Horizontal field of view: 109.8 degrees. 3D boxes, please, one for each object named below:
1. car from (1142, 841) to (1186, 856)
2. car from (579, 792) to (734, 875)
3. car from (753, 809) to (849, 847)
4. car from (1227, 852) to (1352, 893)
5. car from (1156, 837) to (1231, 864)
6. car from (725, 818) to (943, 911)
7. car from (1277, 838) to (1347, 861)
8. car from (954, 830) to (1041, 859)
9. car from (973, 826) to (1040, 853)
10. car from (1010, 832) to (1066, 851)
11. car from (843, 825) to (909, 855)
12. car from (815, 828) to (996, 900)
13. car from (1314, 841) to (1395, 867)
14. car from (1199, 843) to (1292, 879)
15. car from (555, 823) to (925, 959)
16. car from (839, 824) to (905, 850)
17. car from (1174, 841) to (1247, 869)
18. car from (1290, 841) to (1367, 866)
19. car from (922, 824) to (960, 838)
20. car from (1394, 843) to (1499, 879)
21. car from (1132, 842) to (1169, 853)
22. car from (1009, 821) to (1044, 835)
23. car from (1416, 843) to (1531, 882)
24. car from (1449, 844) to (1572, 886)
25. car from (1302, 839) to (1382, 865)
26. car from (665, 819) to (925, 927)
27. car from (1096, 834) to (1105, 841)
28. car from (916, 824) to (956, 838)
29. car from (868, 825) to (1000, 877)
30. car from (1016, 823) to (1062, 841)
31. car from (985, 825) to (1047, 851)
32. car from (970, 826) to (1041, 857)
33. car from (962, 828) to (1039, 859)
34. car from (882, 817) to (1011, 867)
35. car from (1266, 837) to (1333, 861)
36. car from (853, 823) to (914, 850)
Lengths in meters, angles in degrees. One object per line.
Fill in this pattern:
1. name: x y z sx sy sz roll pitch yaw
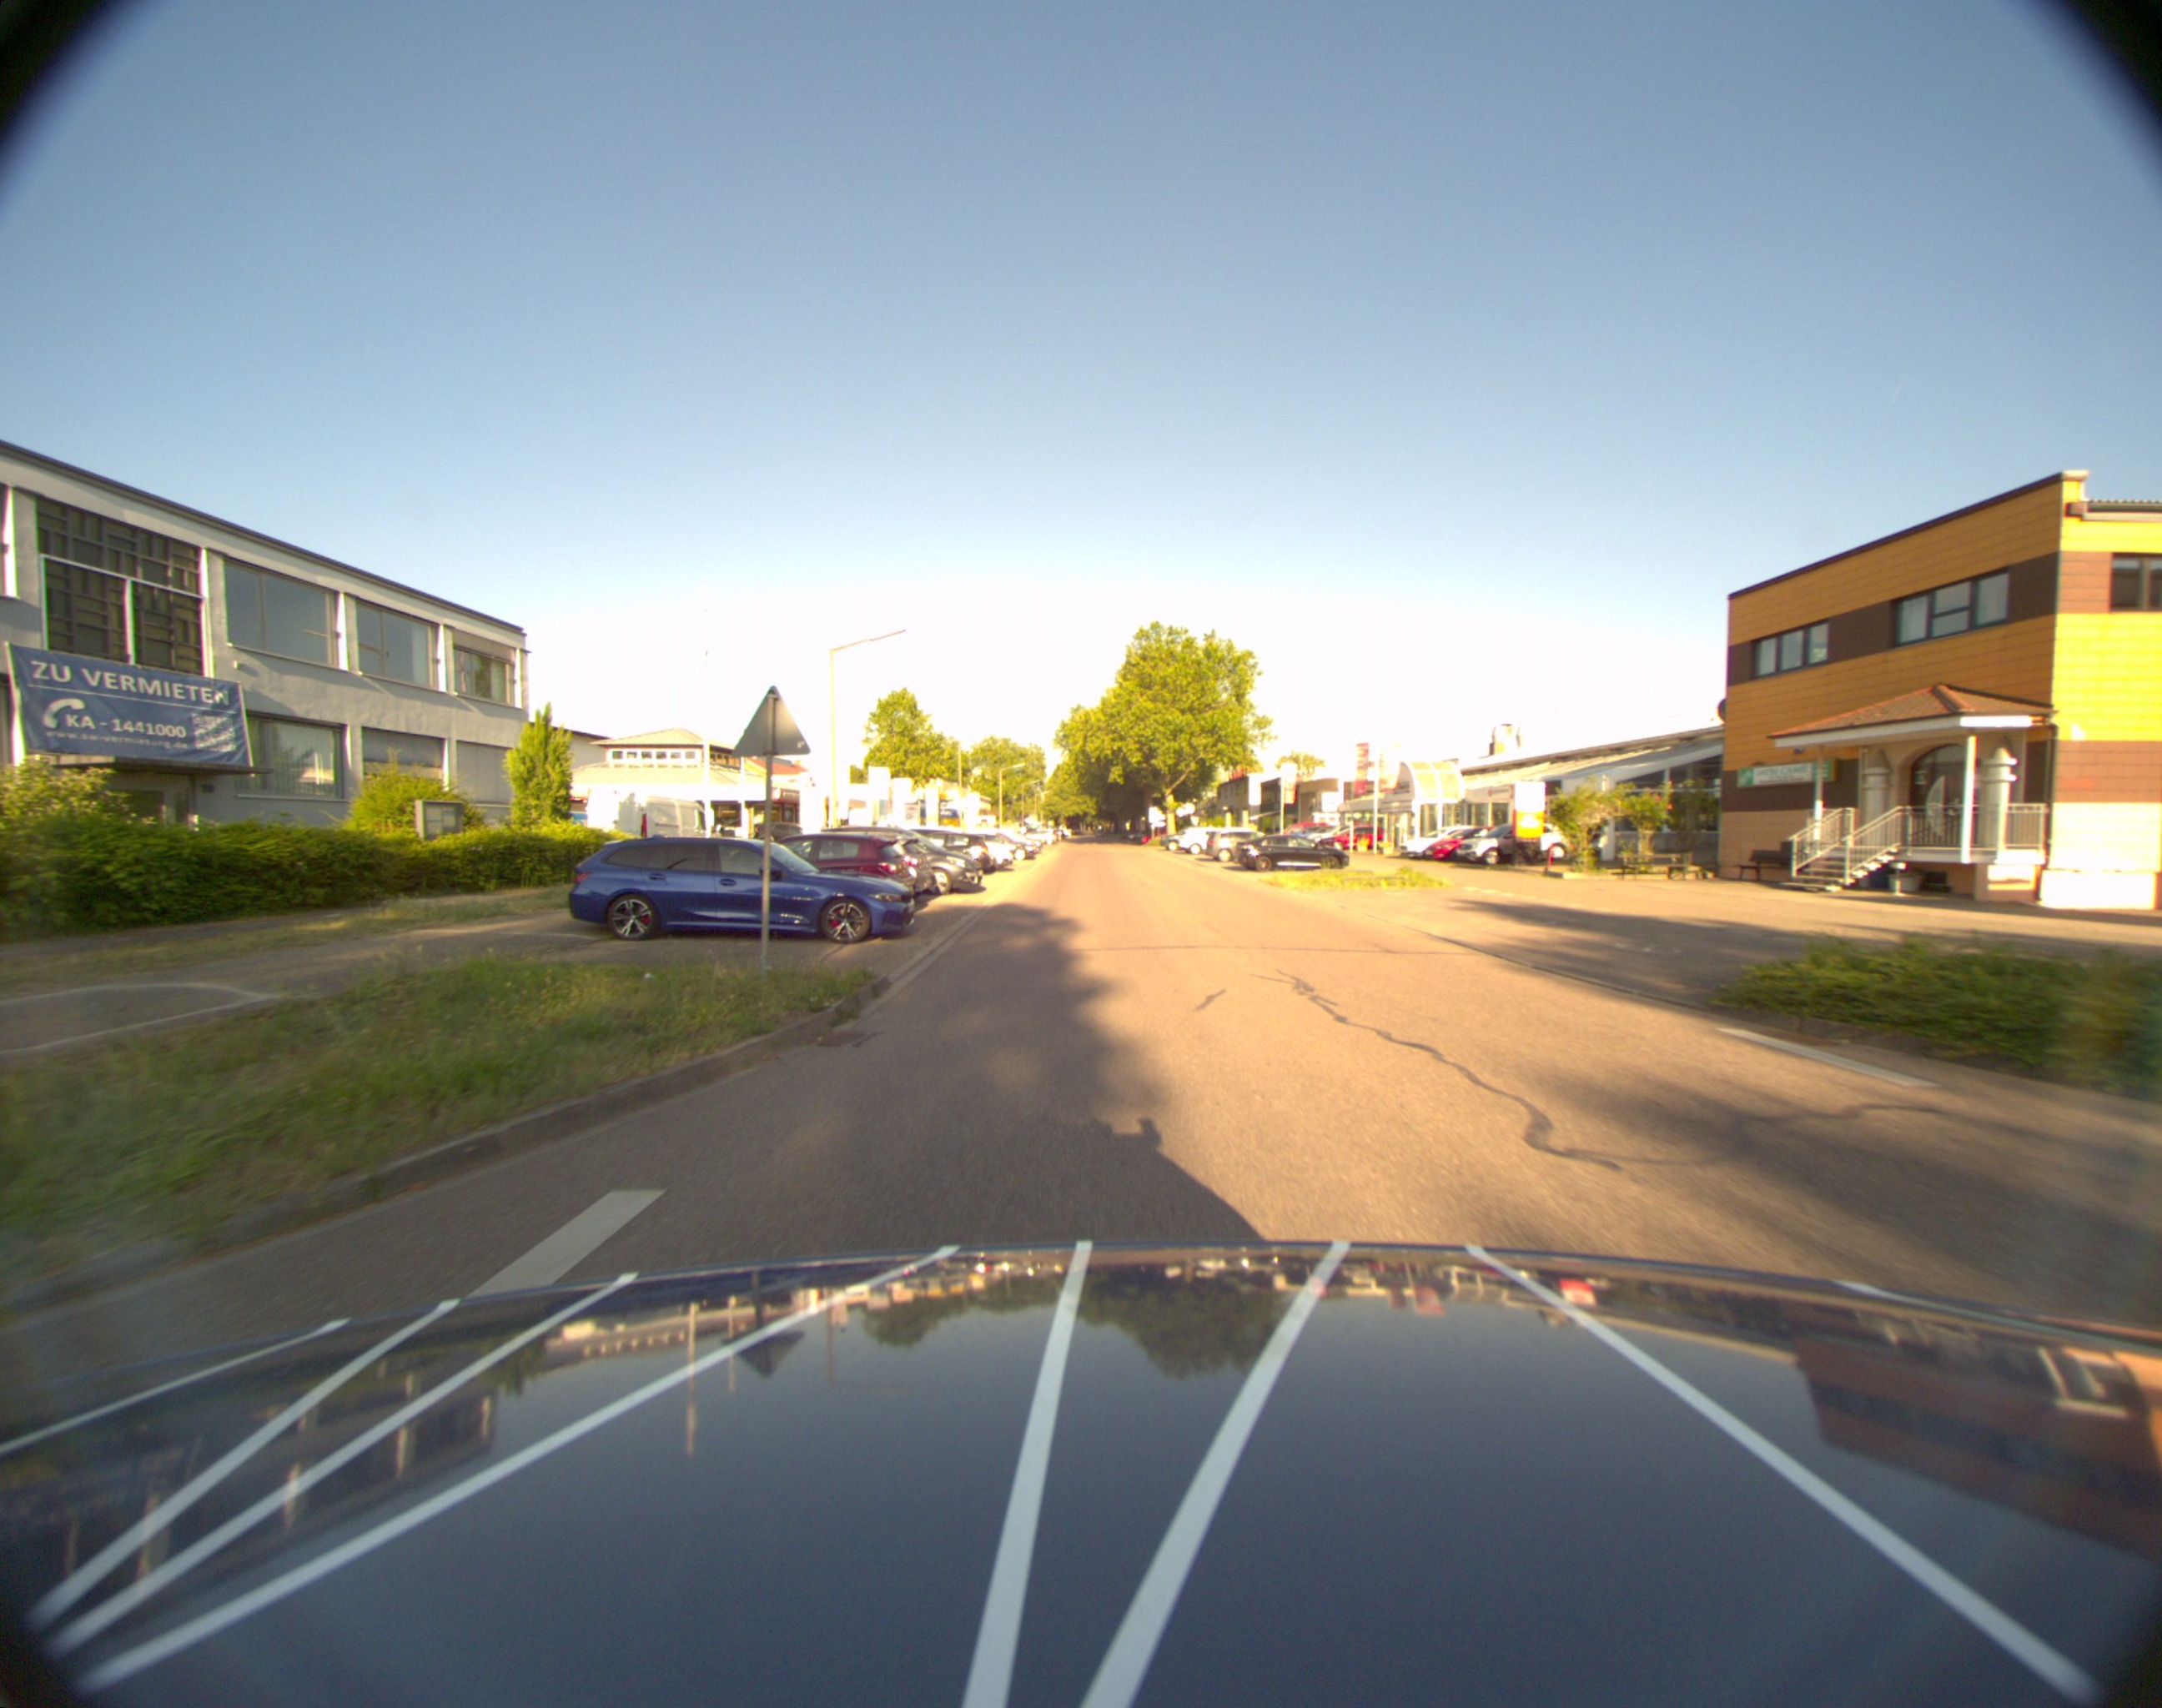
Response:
1. car: 8.575 -0.554 79.087 4.307 1.438 1.999 -1 2 0
2. car: -14.929 -0.726 27.284 1.998 2.611 6.135 -1 2 0
3. car: -14.216 -1.300 38.737 4.154 1.762 1.999 2 2 0
4. car: 8.205 0.706 30.207 4.325 1.452 2.201 -1 2 -2
5. car: 8.454 -0.316 57.496 5.273 1.888 2.201 -1 2 0
6. car: -5.161 0.182 16.236 3.997 1.643 1.800 3 2 1
7. car: 17.530 -0.334 57.890 4.726 1.625 1.999 -1 2 -1
8. car: -4.459 -0.522 41.166 4.448 1.428 2.135 2 2 0
9. car: -4.666 -0.941 48.252 4.120 1.609 2.058 1 2 -3
10. car: -3.245 -0.959 57.739 3.996 1.289 1.784 2 2 3
11. car: -13.776 -0.962 51.206 3.912 1.888 1.785 0 4 0
12. car: -4.366 0.205 19.240 3.994 1.604 2.001 2 2 7
13. car: 17.195 -0.007 47.934 4.475 1.544 1.835 -1 2 -1
14. car: 8.312 0.330 38.689 4.242 1.646 2.200 -1 2 -2
15. car: -4.728 0.486 11.062 4.536 1.663 1.752 2 2 -3
16. car: -16.289 -1.320 59.523 4.507 1.888 2.201 -1 2 0
17. car: 8.379 0.054 49.358 4.314 1.646 2.200 -1 2 -2
18. car: 17.263 -0.069 53.097 4.731 1.634 1.999 -1 2 -1
19. car: -15.754 -2.590 85.891 3.998 1.489 1.999 -1 2 -4
20. car: 17.150 0.325 35.793 3.997 1.547 1.999 -1 2 0
21. car: 9.093 -0.830 99.196 4.612 1.414 2.000 0 1 0
22. car: -11.205 -5.316 155.845 6.995 2.644 2.134 1 1 1
23. car: 17.076 0.344 33.204 3.997 1.547 1.999 -1 2 0
24. car: 17.285 0.408 30.709 3.920 1.547 1.887 -1 2 0
25. car: 17.356 -0.131 50.649 4.673 1.583 1.928 -1 2 -1
26. car: -5.014 0.301 13.746 3.998 1.643 1.741 3 2 -2
27. car: 4.455 -3.819 171.774 1.843 1.562 3.801 2 2 0
28. car: -15.640 -2.483 82.293 3.998 1.510 1.952 -1 2 -4
29. car: -5.125 -0.120 26.868 4.259 1.614 1.920 2 2 -1
30. car: -4.317 -2.264 79.249 4.612 1.604 1.999 3 2 0
31. car: -4.322 -1.094 50.550 3.998 1.579 1.866 2 2 -3
32. car: -4.499 -0.776 45.714 4.120 1.730 1.883 -1 2 -3
33. car: -4.559 -0.614 43.196 4.255 1.596 1.745 -1 2 -5
34. car: -5.059 -0.465 29.112 4.567 1.589 2.200 3 2 -3
35. car: 17.438 -0.433 60.731 4.758 1.809 1.999 -1 2 -1
36. car: -14.549 -1.275 56.099 3.943 1.887 2.202 0 -1 0
